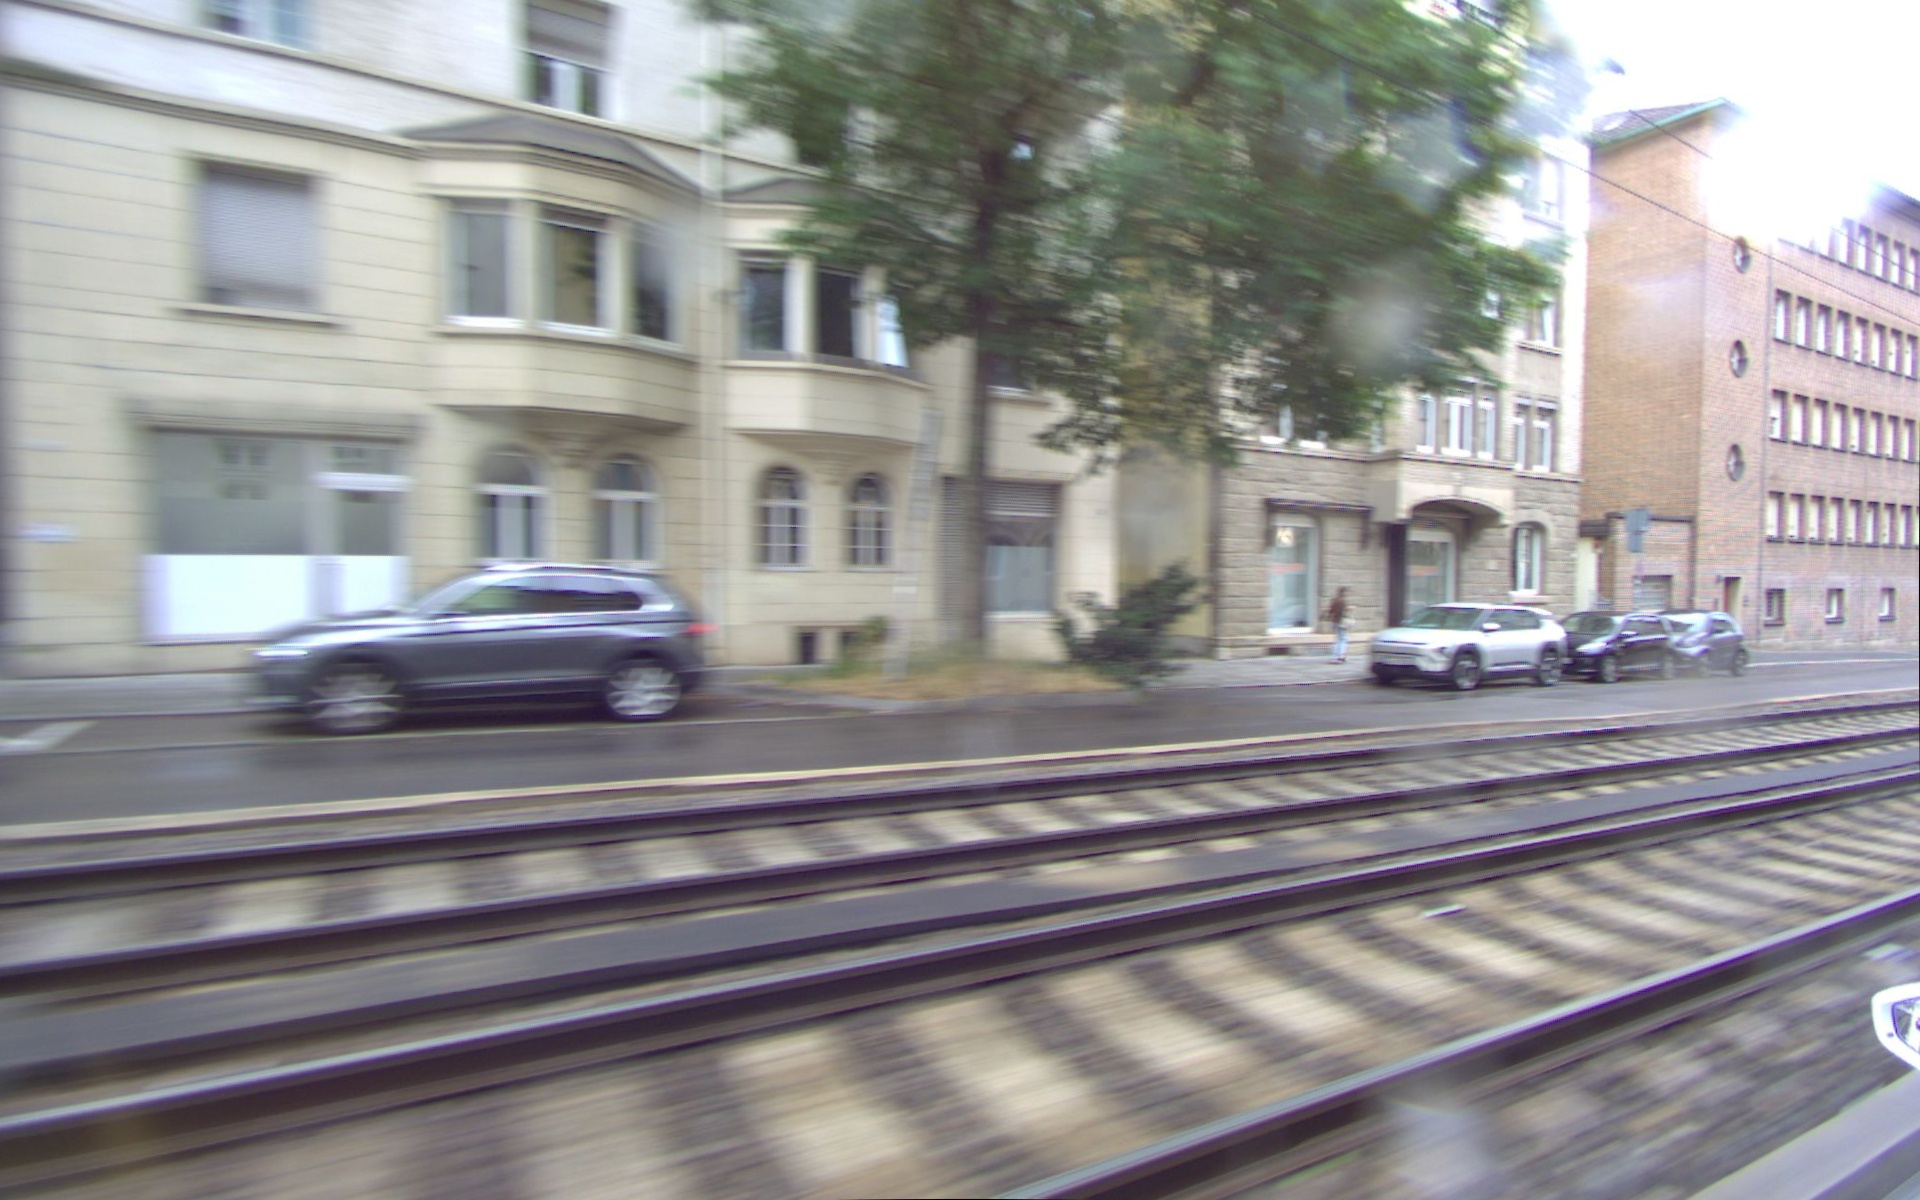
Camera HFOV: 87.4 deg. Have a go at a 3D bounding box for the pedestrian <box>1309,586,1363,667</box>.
[{"bbox_3d":[8.037,0.548,21.467,0.762,1.685,0.724,1,1,-30],"label":"pedestrian"}]

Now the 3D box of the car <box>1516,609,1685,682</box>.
[{"bbox_3d":[14.047,0.947,22.001,3.644,1.434,1.658,1,1,-31],"label":"car"}]

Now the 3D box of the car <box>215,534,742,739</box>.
[{"bbox_3d":[-4.955,0.294,10.797,4.725,1.765,1.942,1,3,-32],"label":"car"}]

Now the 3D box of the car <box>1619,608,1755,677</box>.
[{"bbox_3d":[17.274,0.973,23.850,3.010,1.486,1.563,1,1,-32],"label":"car"}]

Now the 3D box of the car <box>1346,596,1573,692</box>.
[{"bbox_3d":[9.726,0.792,19.492,4.279,1.627,1.951,1,1,-31],"label":"car"}]
